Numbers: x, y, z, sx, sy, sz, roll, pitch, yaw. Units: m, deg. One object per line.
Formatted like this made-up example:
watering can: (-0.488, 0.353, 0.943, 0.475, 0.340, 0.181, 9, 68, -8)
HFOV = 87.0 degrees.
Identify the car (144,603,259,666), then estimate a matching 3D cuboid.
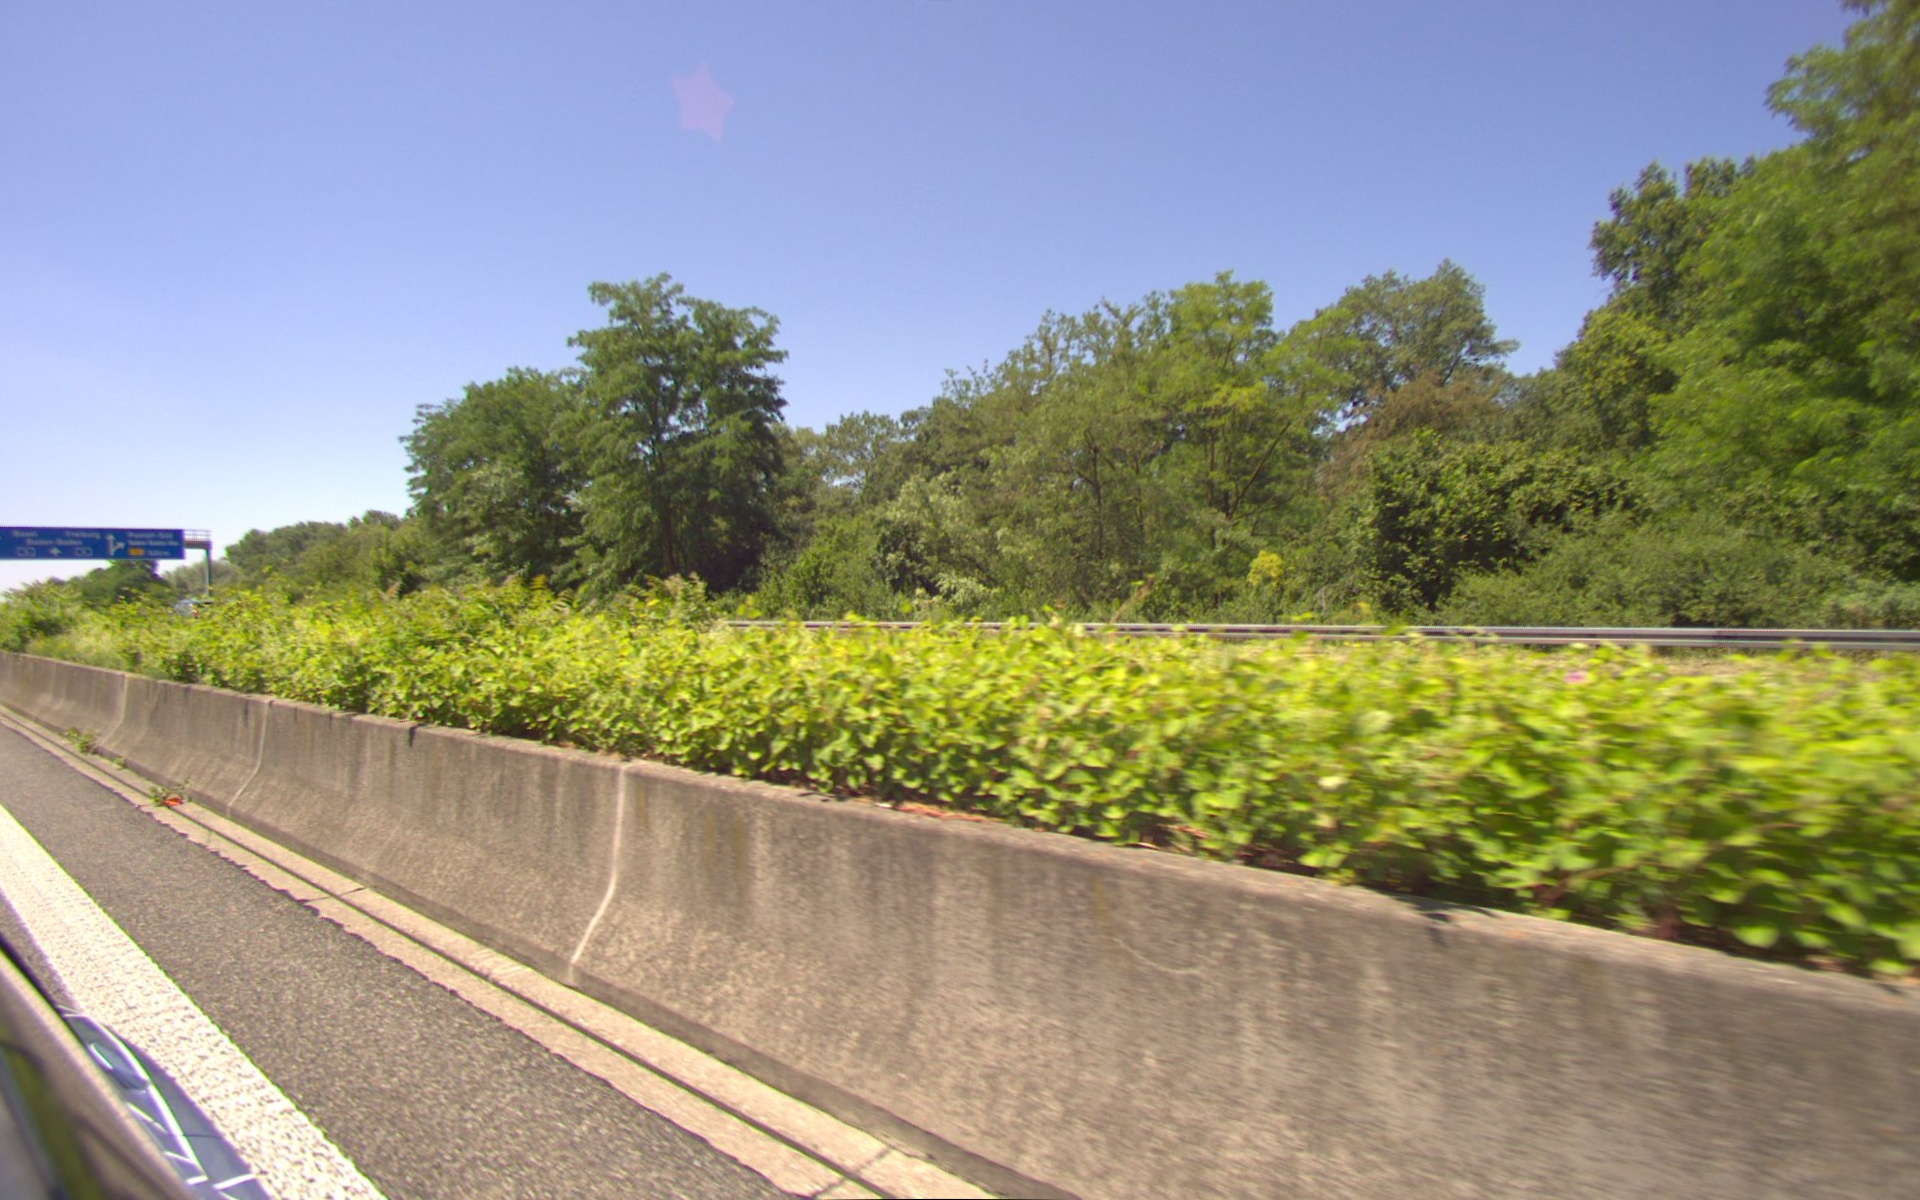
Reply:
car: (-23.999, 1.051, 31.956, 5.139, 1.835, 1.855, -1, 0, 41)

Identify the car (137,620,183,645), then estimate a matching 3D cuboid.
car: (-57.295, 2.322, 72.416, 4.760, 1.699, 1.795, -1, -1, 42)
